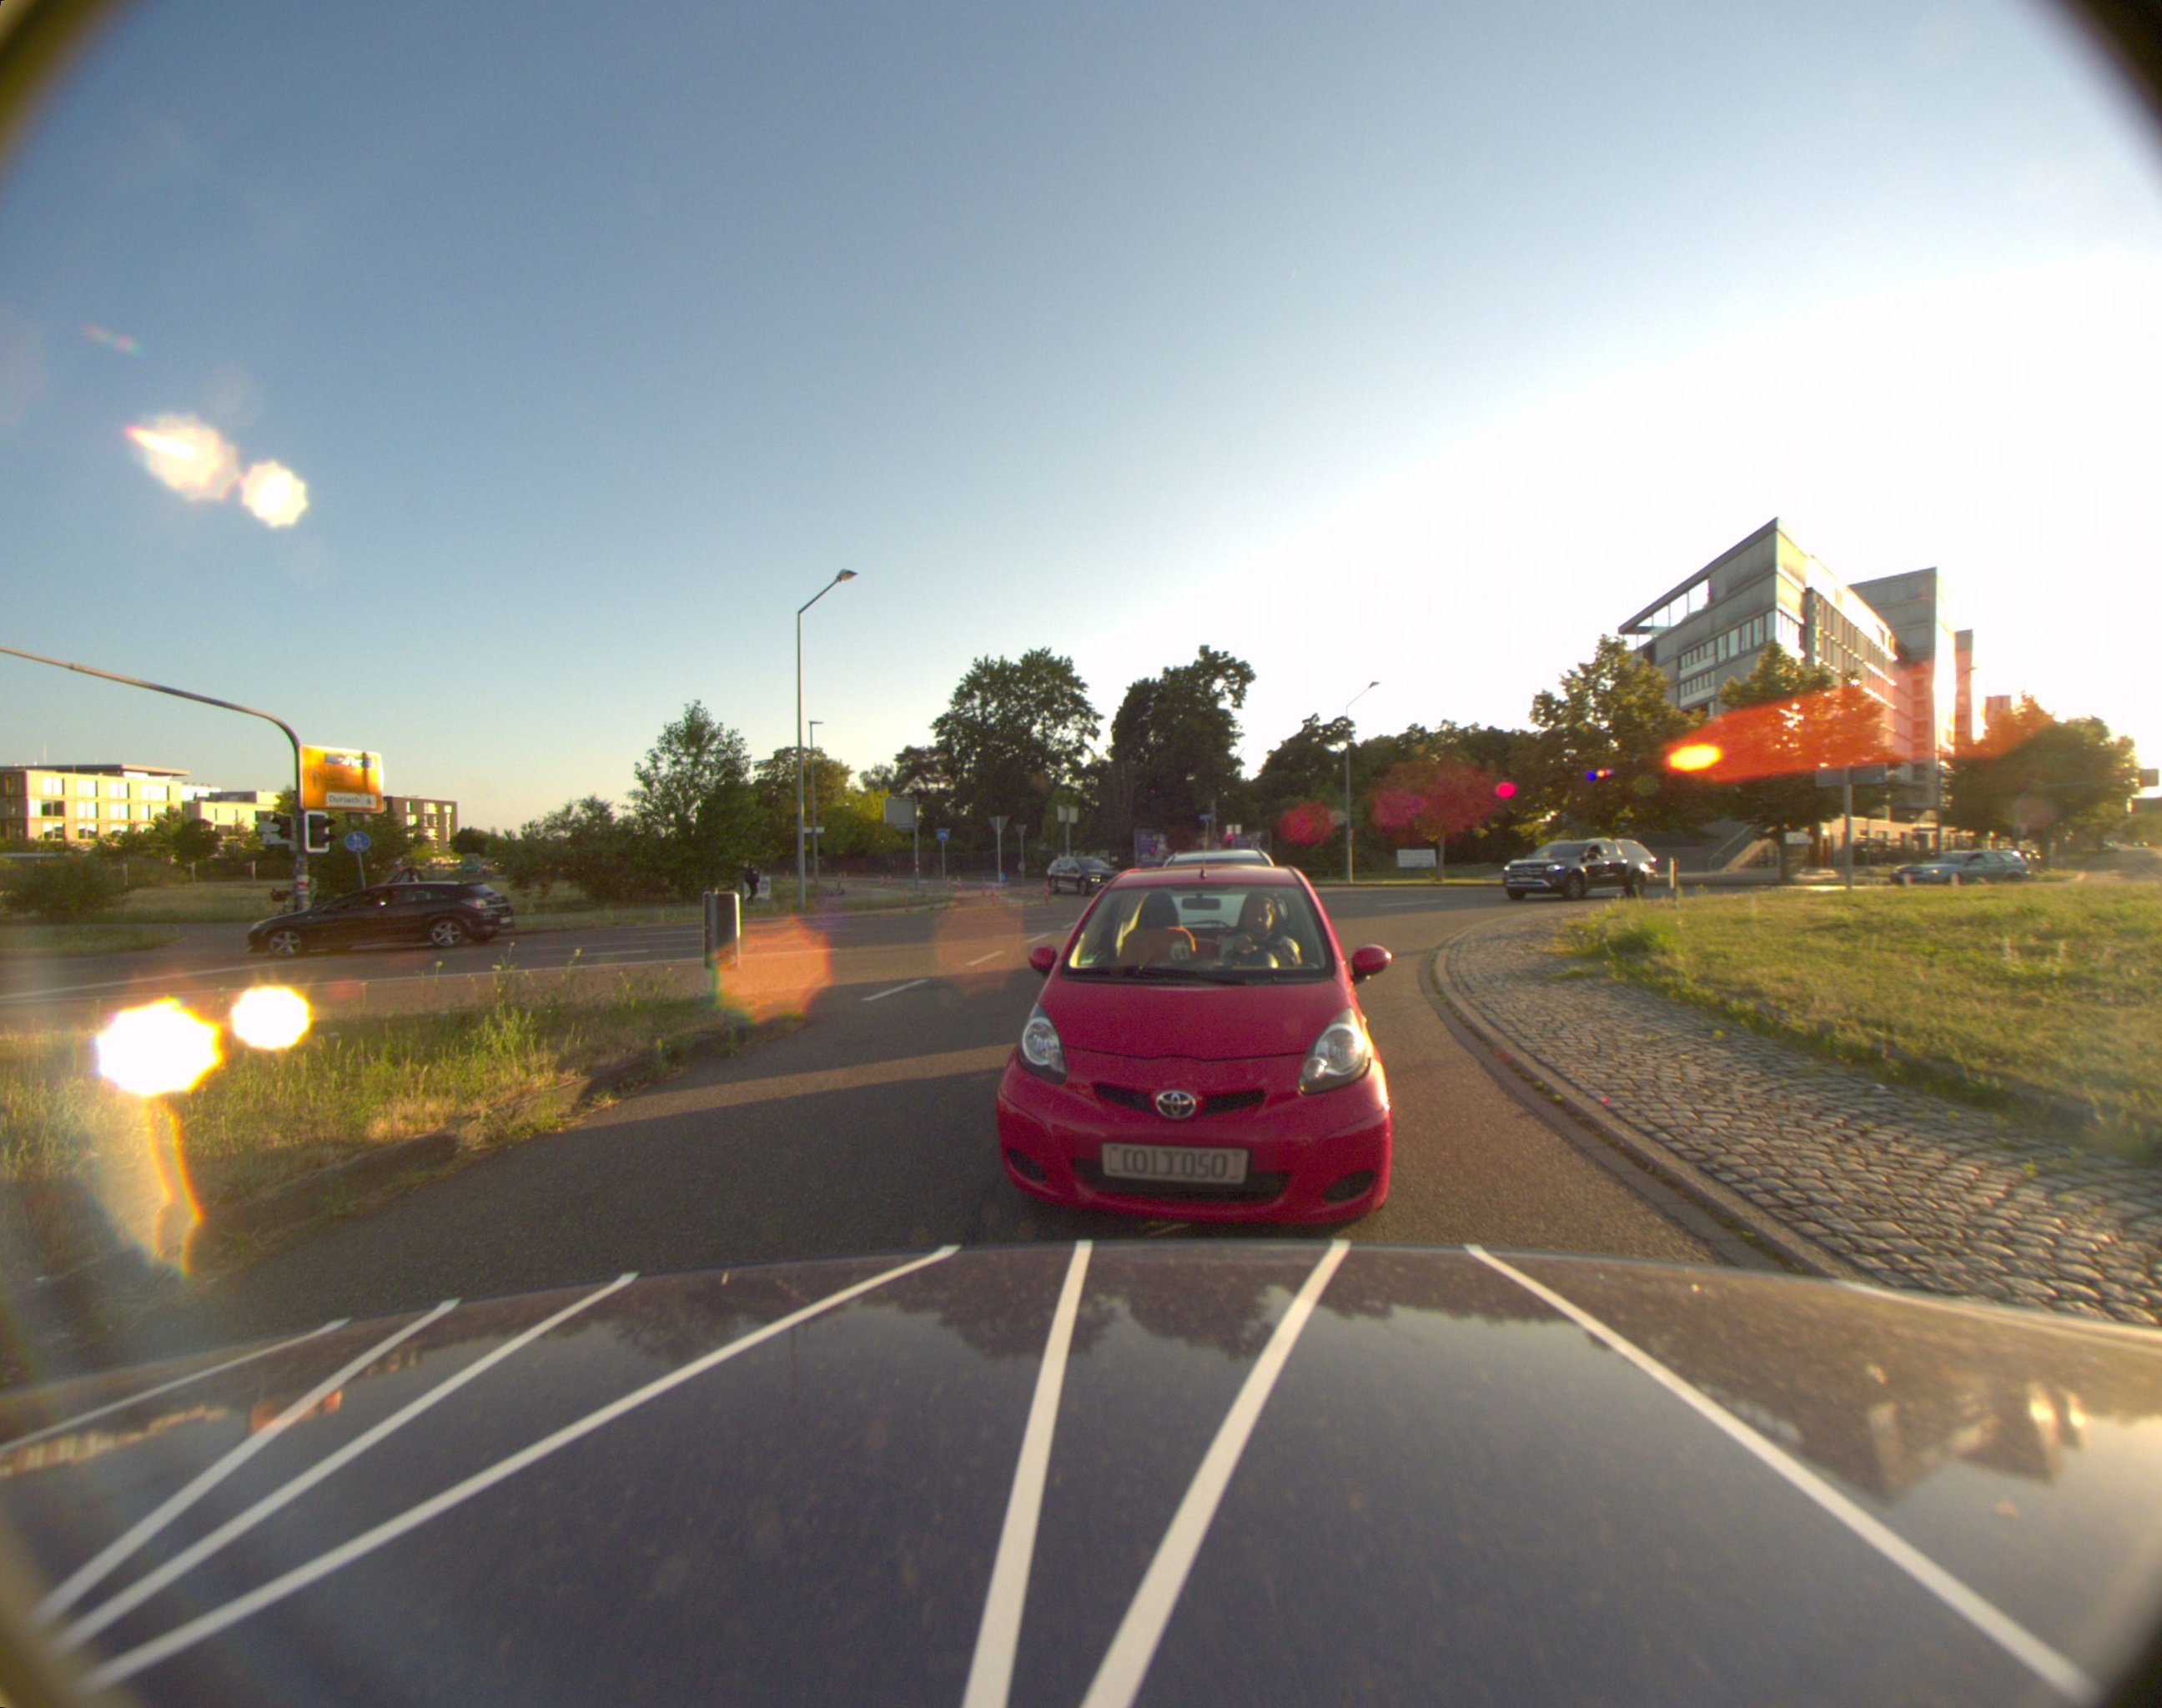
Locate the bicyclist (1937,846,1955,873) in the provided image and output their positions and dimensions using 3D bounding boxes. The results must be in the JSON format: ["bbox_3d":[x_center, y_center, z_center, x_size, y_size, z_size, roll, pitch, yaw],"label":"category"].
[{"bbox_3d":[46.972,0.309,41.262,0.693,1.432,0.610,-2,1,-42],"label":"bicyclist"}]

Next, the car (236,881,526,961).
[{"bbox_3d":[-14.574,1.342,16.124,4.129,1.371,1.748,-1,0,-18],"label":"car"}]

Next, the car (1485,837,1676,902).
[{"bbox_3d":[14.997,0.450,22.823,5.311,1.802,1.997,0,-1,-20],"label":"car"}]

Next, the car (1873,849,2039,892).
[{"bbox_3d":[33.918,0.602,29.526,4.566,1.550,1.833,-1,1,-3],"label":"car"}]

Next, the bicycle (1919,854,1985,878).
[{"bbox_3d":[47.085,0.629,41.120,0.744,1.237,2.341,-2,1,-41],"label":"bicycle"}]

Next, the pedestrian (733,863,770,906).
[{"bbox_3d":[-12.441,1.140,28.669,0.994,1.581,0.924,-2,1,-44],"label":"pedestrian"}]

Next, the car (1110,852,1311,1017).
[{"bbox_3d":[1.857,0.798,9.730,1.996,1.597,4.203,-1,0,16],"label":"car"}]

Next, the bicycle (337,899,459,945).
[{"bbox_3d":[-17.165,1.677,19.164,0.708,0.957,2.149,-1,0,26],"label":"bicycle"}]

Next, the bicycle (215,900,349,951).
[{"bbox_3d":[-19.276,1.696,18.404,0.708,0.958,2.109,-1,2,14],"label":"bicycle"}]

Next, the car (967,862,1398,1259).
[{"bbox_3d":[0.829,0.806,4.968,1.686,1.412,4.004,-1,0,14],"label":"car"}]

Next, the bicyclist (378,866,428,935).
[{"bbox_3d":[-17.150,1.163,19.224,0.723,1.680,0.690,-1,1,28],"label":"bicyclist"}]

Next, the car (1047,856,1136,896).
[{"bbox_3d":[0.381,0.885,32.734,2.003,1.588,4.304,-1,0,-28],"label":"car"}]

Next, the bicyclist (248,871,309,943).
[{"bbox_3d":[-19.335,1.255,18.316,0.724,1.680,0.690,-1,1,12],"label":"bicyclist"}]
